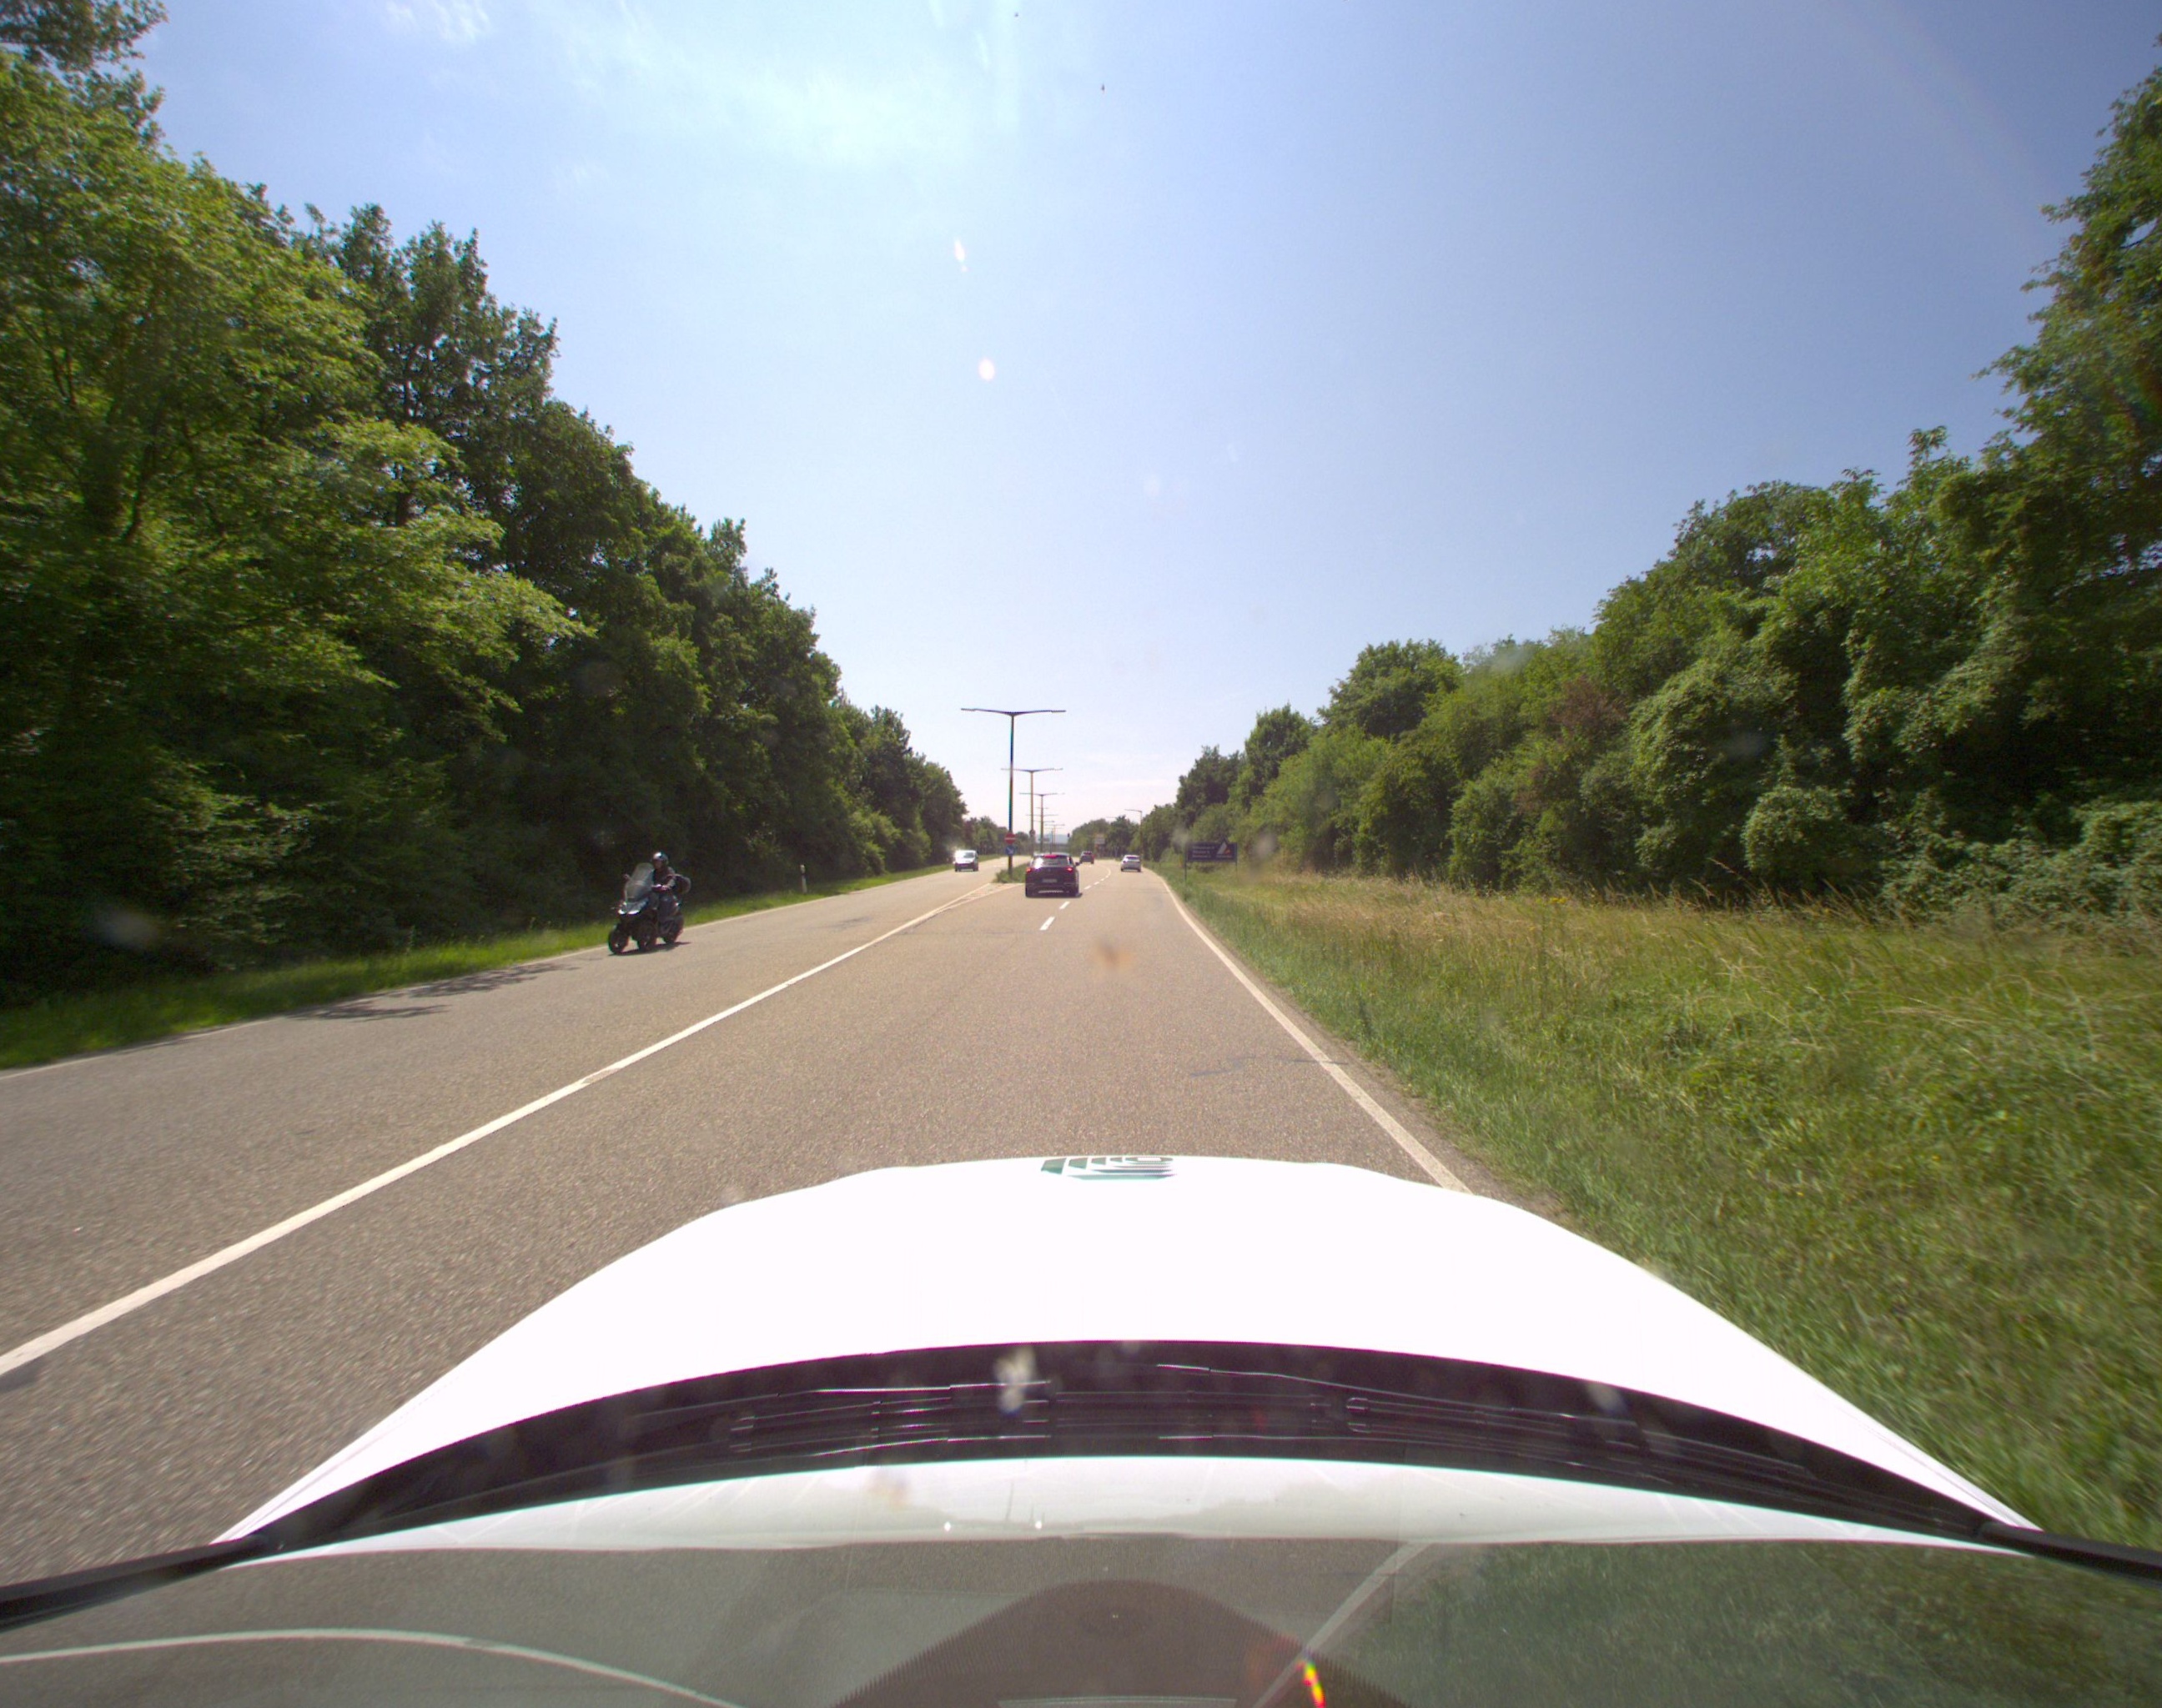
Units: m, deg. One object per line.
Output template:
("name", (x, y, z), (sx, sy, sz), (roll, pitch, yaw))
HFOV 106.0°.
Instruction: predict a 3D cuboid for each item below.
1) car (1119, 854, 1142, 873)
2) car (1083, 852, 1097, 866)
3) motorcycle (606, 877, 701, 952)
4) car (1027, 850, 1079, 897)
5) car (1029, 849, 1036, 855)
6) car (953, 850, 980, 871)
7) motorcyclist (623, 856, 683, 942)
("car", (4.366, 0.830, 72.257), (1.791, 1.583, 4.000), (-1, 0, 0))
("car", (1.193, 0.722, 113.547), (1.751, 1.929, 3.997), (1, 0, -2))
("motorcycle", (-7.612, 1.042, 14.641), (0.669, 1.174, 2.228), (-1, 0, -4))
("car", (-1.045, 0.670, 29.640), (1.751, 1.556, 3.996), (1, 0, -3))
("car", (-13.866, -0.620, 232.793), (1.822, 1.519, 3.999), (1, 0, 0))
("car", (-9.468, 0.509, 67.569), (1.728, 1.687, 4.091), (-2, 0, -3))
("motorcyclist", (-7.598, 0.781, 14.497), (0.669, 1.475, 0.812), (-1, 0, -5))
